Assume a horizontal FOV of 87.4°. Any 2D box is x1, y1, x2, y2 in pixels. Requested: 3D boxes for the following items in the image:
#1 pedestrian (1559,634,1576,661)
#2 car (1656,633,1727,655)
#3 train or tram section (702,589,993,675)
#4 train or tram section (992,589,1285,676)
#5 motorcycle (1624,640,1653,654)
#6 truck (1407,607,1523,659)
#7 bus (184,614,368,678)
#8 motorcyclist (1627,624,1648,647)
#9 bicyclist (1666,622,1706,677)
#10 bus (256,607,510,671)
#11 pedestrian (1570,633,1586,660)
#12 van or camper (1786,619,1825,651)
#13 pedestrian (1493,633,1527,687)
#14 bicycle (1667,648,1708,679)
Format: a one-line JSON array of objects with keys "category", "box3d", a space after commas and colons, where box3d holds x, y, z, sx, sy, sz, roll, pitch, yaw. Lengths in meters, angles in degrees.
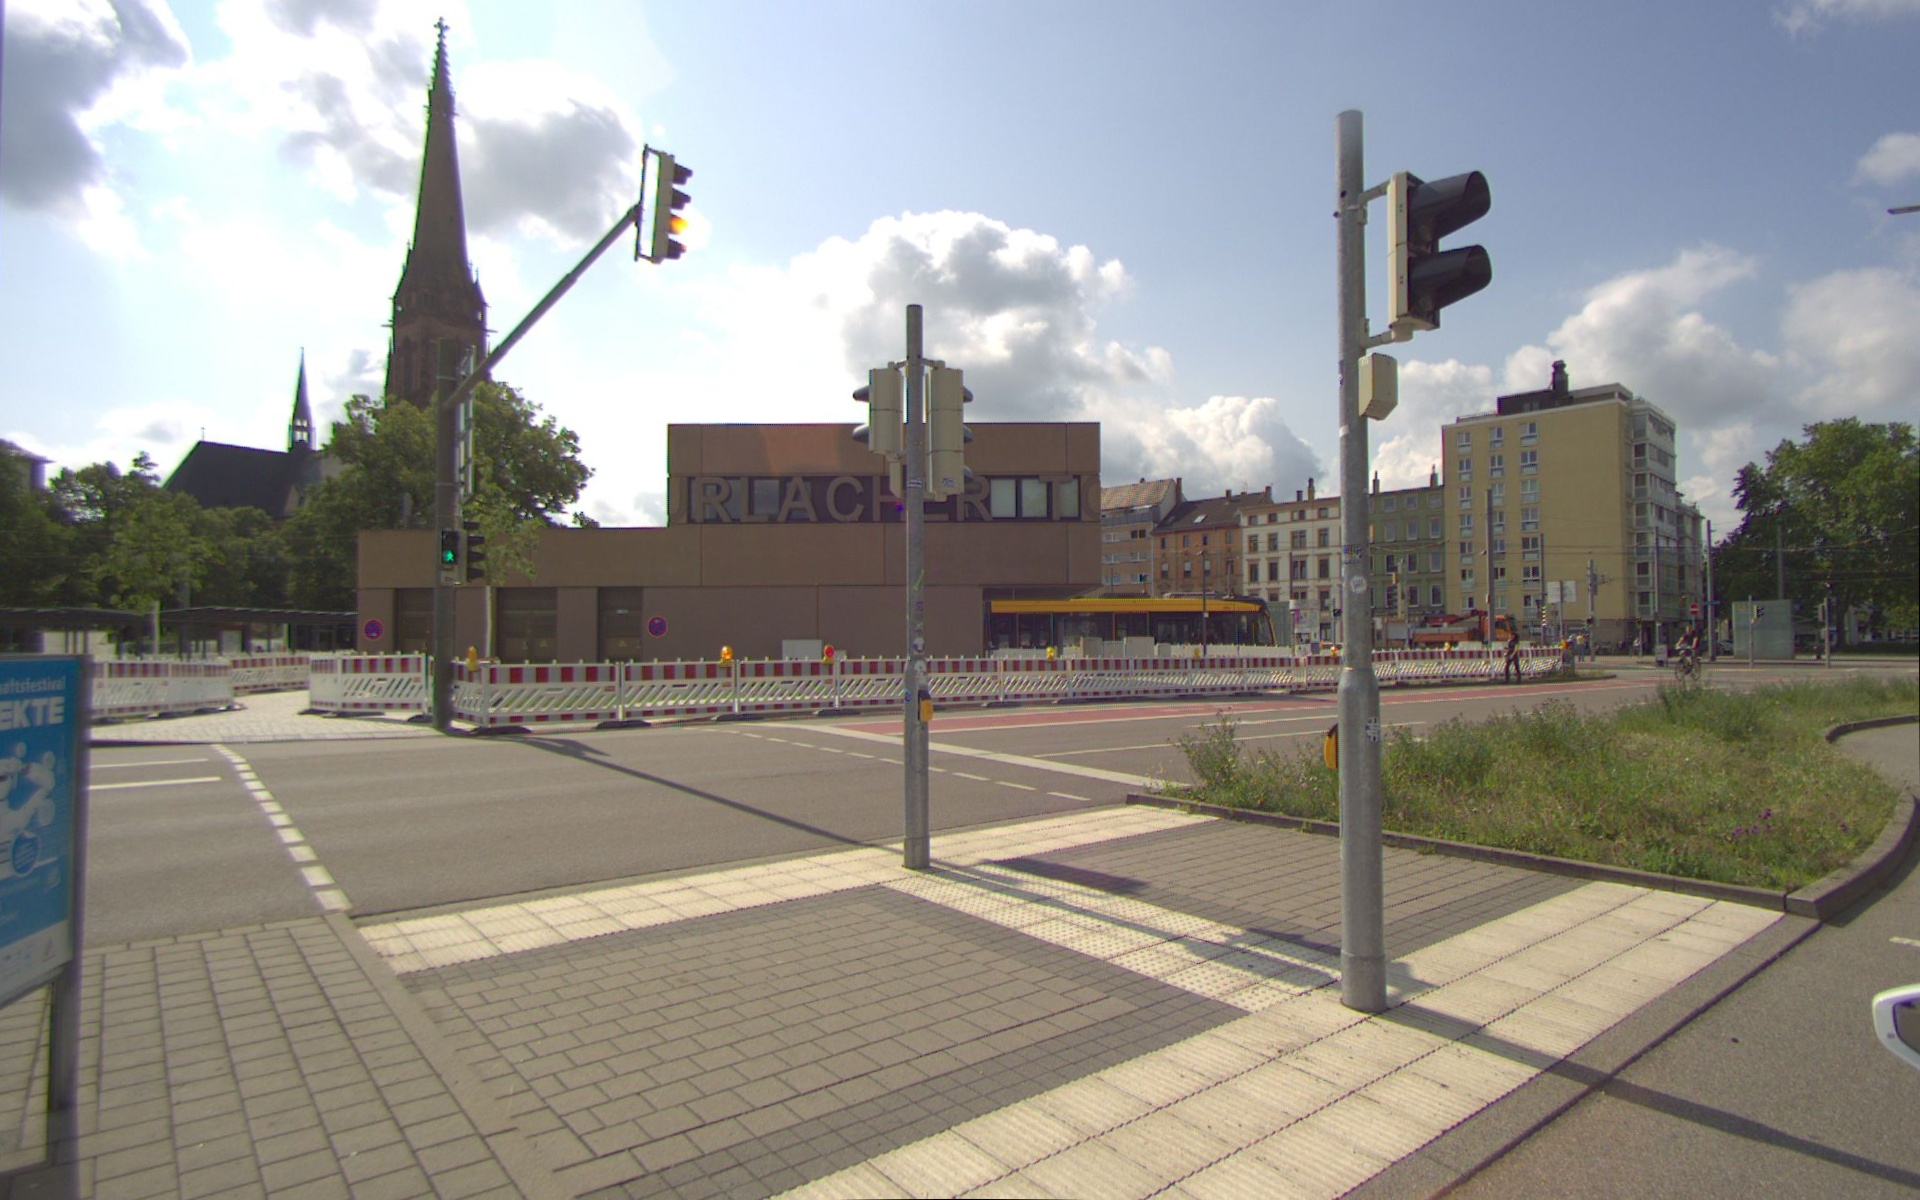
[{"category": "pedestrian", "box3d": [43.147, 3.362, 71.373, 0.809, 1.884, 0.696, 1, -2, -29]}, {"category": "car", "box3d": [54.668, 3.275, 75.102, 1.802, 1.528, 4.027, 2, -1, -44]}, {"category": "train or tram section", "box3d": [-4.700, 1.392, 43.322, 12.169, 3.611, 2.631, 0, -2, 0]}, {"category": "train or tram section", "box3d": [7.496, 1.410, 43.362, 12.168, 3.619, 2.669, 0, -2, 0]}, {"category": "motorcycle", "box3d": [54.233, 3.767, 80.277, 2.402, 1.130, 0.779, 1, -2, -25]}, {"category": "truck", "box3d": [39.530, 2.598, 78.898, 2.186, 3.906, 7.836, 2, -3, -44]}, {"category": "bus", "box3d": [-34.560, 2.319, 50.926, 7.610, 3.098, 2.374, 0, -3, 0]}, {"category": "motorcyclist", "box3d": [54.117, 2.850, 80.256, 1.225, 1.805, 0.885, 1, -2, -25]}, {"category": "bicyclist", "box3d": [25.050, 1.694, 34.647, 1.148, 1.846, 0.805, 1, -2, -37]}, {"category": "bus", "box3d": [-30.706, 2.076, 53.794, 11.837, 3.305, 2.994, 0, -2, 0]}, {"category": "pedestrian", "box3d": [43.531, 3.245, 70.728, 0.772, 1.892, 0.648, 1, -2, -29]}, {"category": "van or camper", "box3d": [80.730, 3.320, 95.954, 2.550, 2.946, 6.074, -2, -3, 38]}, {"category": "pedestrian", "box3d": [17.746, 1.927, 32.421, 0.634, 1.703, 0.732, 1, -2, -33]}, {"category": "bicycle", "box3d": [25.138, 2.168, 34.687, 2.000, 1.015, 0.612, 2, -2, -38]}]
